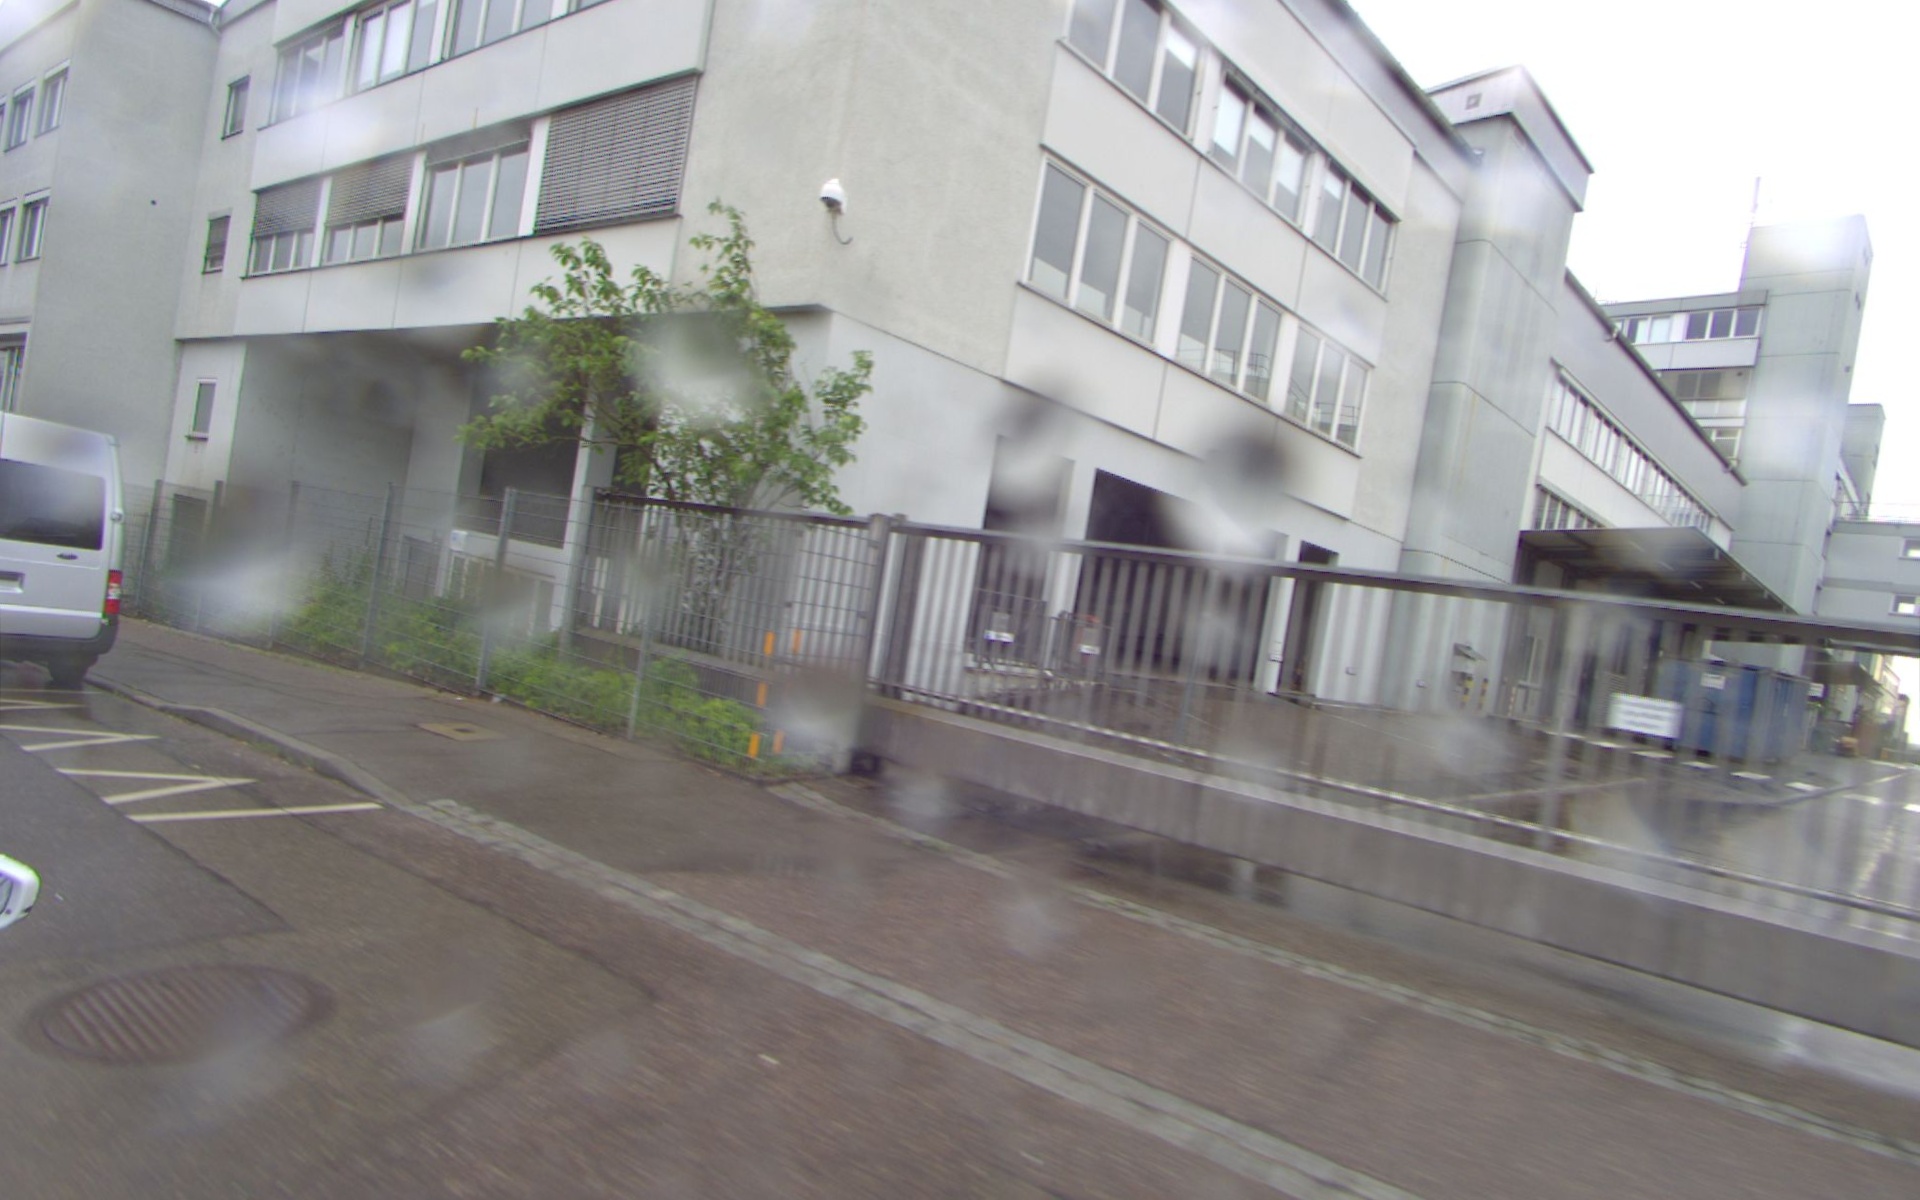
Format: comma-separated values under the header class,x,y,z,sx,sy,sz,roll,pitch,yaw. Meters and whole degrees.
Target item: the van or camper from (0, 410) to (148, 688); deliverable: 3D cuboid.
class,x,y,z,sx,sy,sz,roll,pitch,yaw
van or camper,-10.116,-0.642,9.702,5.355,2.270,1.994,6,0,35
